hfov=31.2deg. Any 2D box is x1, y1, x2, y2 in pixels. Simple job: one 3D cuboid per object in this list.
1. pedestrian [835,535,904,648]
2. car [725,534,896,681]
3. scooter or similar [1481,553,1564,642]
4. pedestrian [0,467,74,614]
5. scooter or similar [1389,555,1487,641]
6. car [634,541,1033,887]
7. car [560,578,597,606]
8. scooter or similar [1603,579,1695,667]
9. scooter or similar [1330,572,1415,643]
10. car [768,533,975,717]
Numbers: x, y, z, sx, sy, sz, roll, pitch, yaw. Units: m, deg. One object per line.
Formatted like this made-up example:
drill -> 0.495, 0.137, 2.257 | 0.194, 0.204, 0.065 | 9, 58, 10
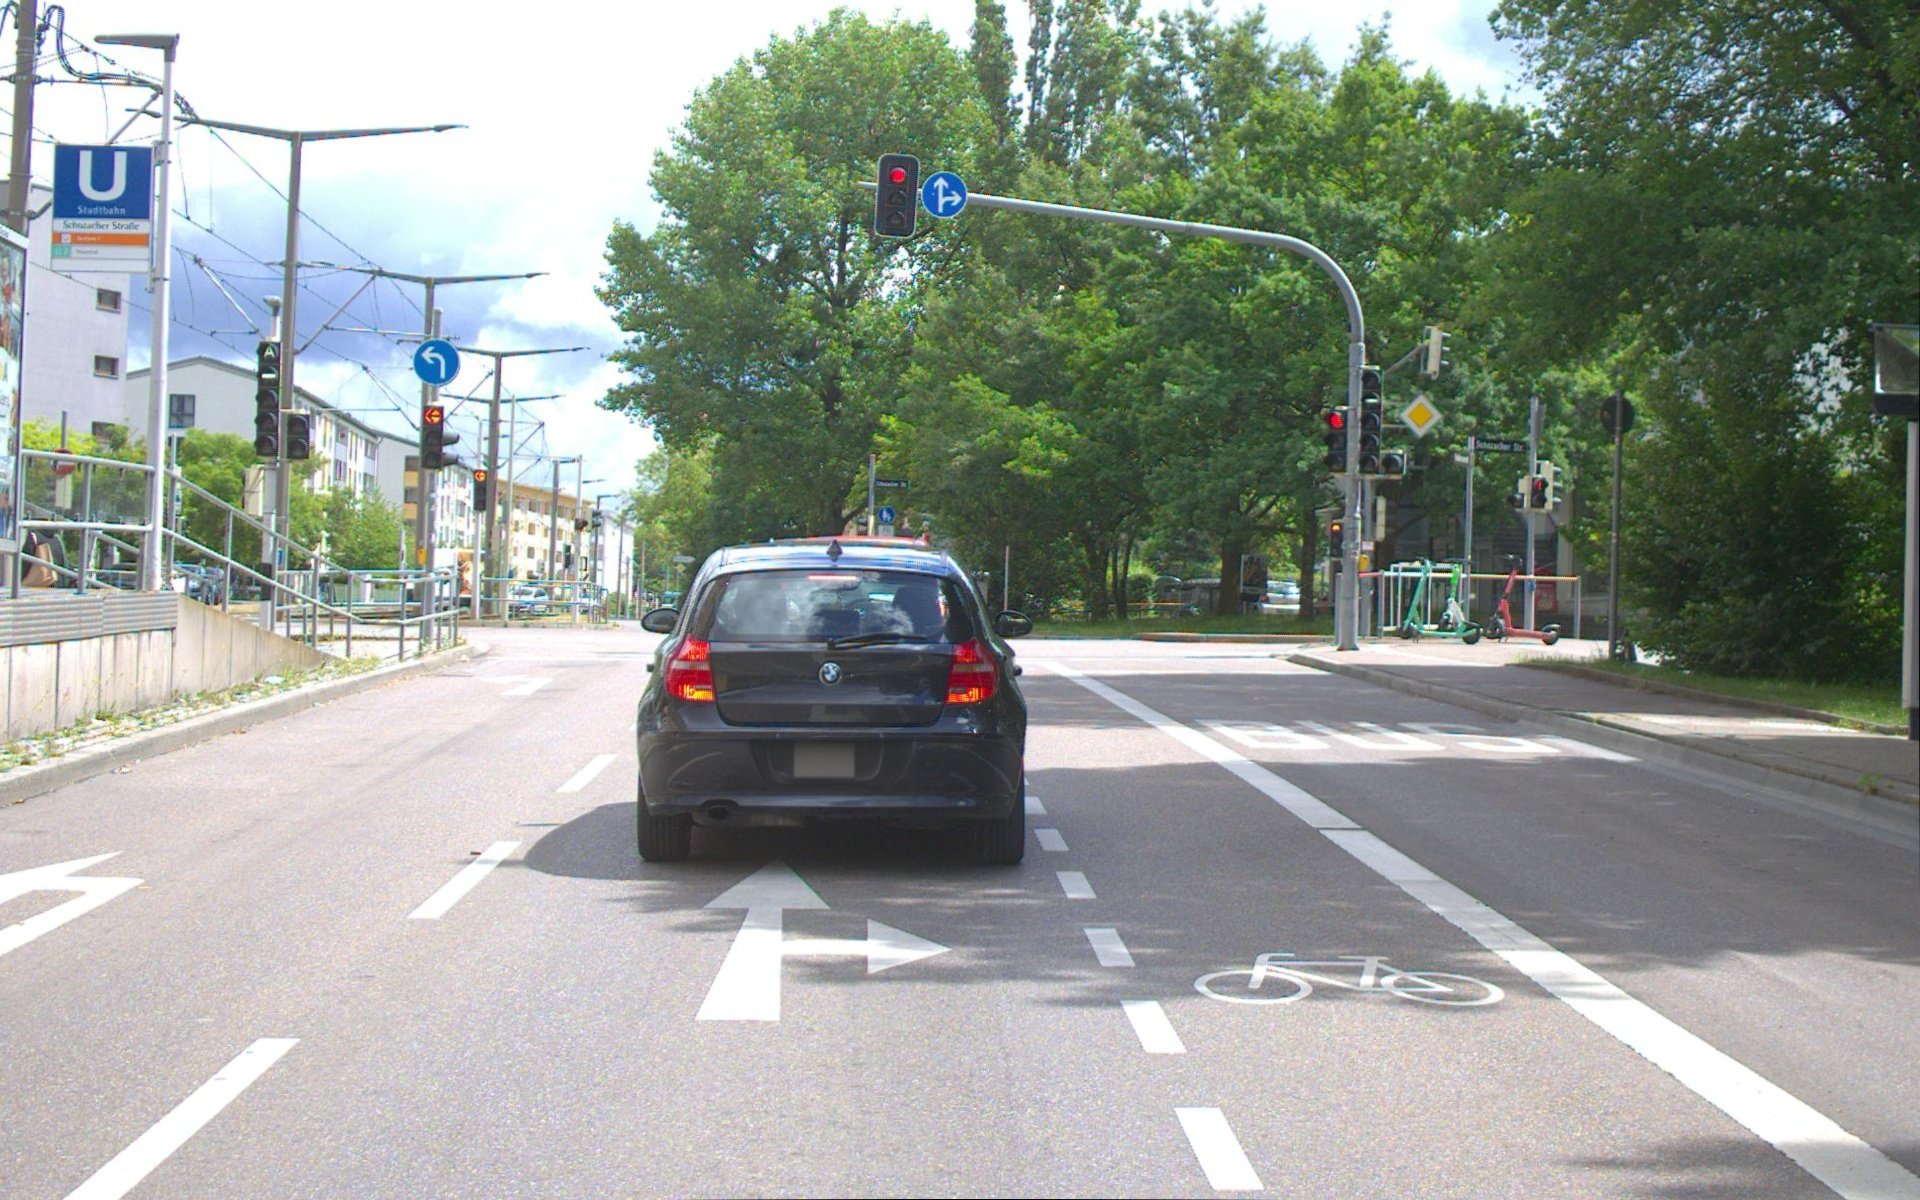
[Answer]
pedestrian -> -1.171, -0.118, 44.525 | 0.865, 1.437, 0.798 | 1, 1, 0
car -> -1.544, 0.040, 35.319 | 1.654, 1.414, 3.517 | 1, 1, -3
scooter or similar -> 7.993, -0.037, 48.842 | 1.106, 1.253, 0.332 | 0, 1, -13
pedestrian -> -10.387, -0.668, 38.601 | 0.701, 1.627, 0.638 | 0, 1, 1
scooter or similar -> 6.664, -0.034, 47.938 | 1.287, 1.185, 0.385 | 0, 1, -16
car -> -0.514, 0.447, 16.170 | 1.654, 1.414, 3.517 | 1, 1, 1
car -> -22.404, -0.476, 202.040 | 1.966, 1.590, 4.001 | 1, 1, -3
scooter or similar -> 8.740, 0.291, 43.587 | 1.148, 1.095, 0.332 | 1, 1, -24
scooter or similar -> 5.620, 0.100, 46.856 | 1.119, 0.954, 0.300 | 0, 1, -16
car -> -0.705, 0.161, 28.591 | 1.594, 1.414, 3.517 | 1, 1, -1
